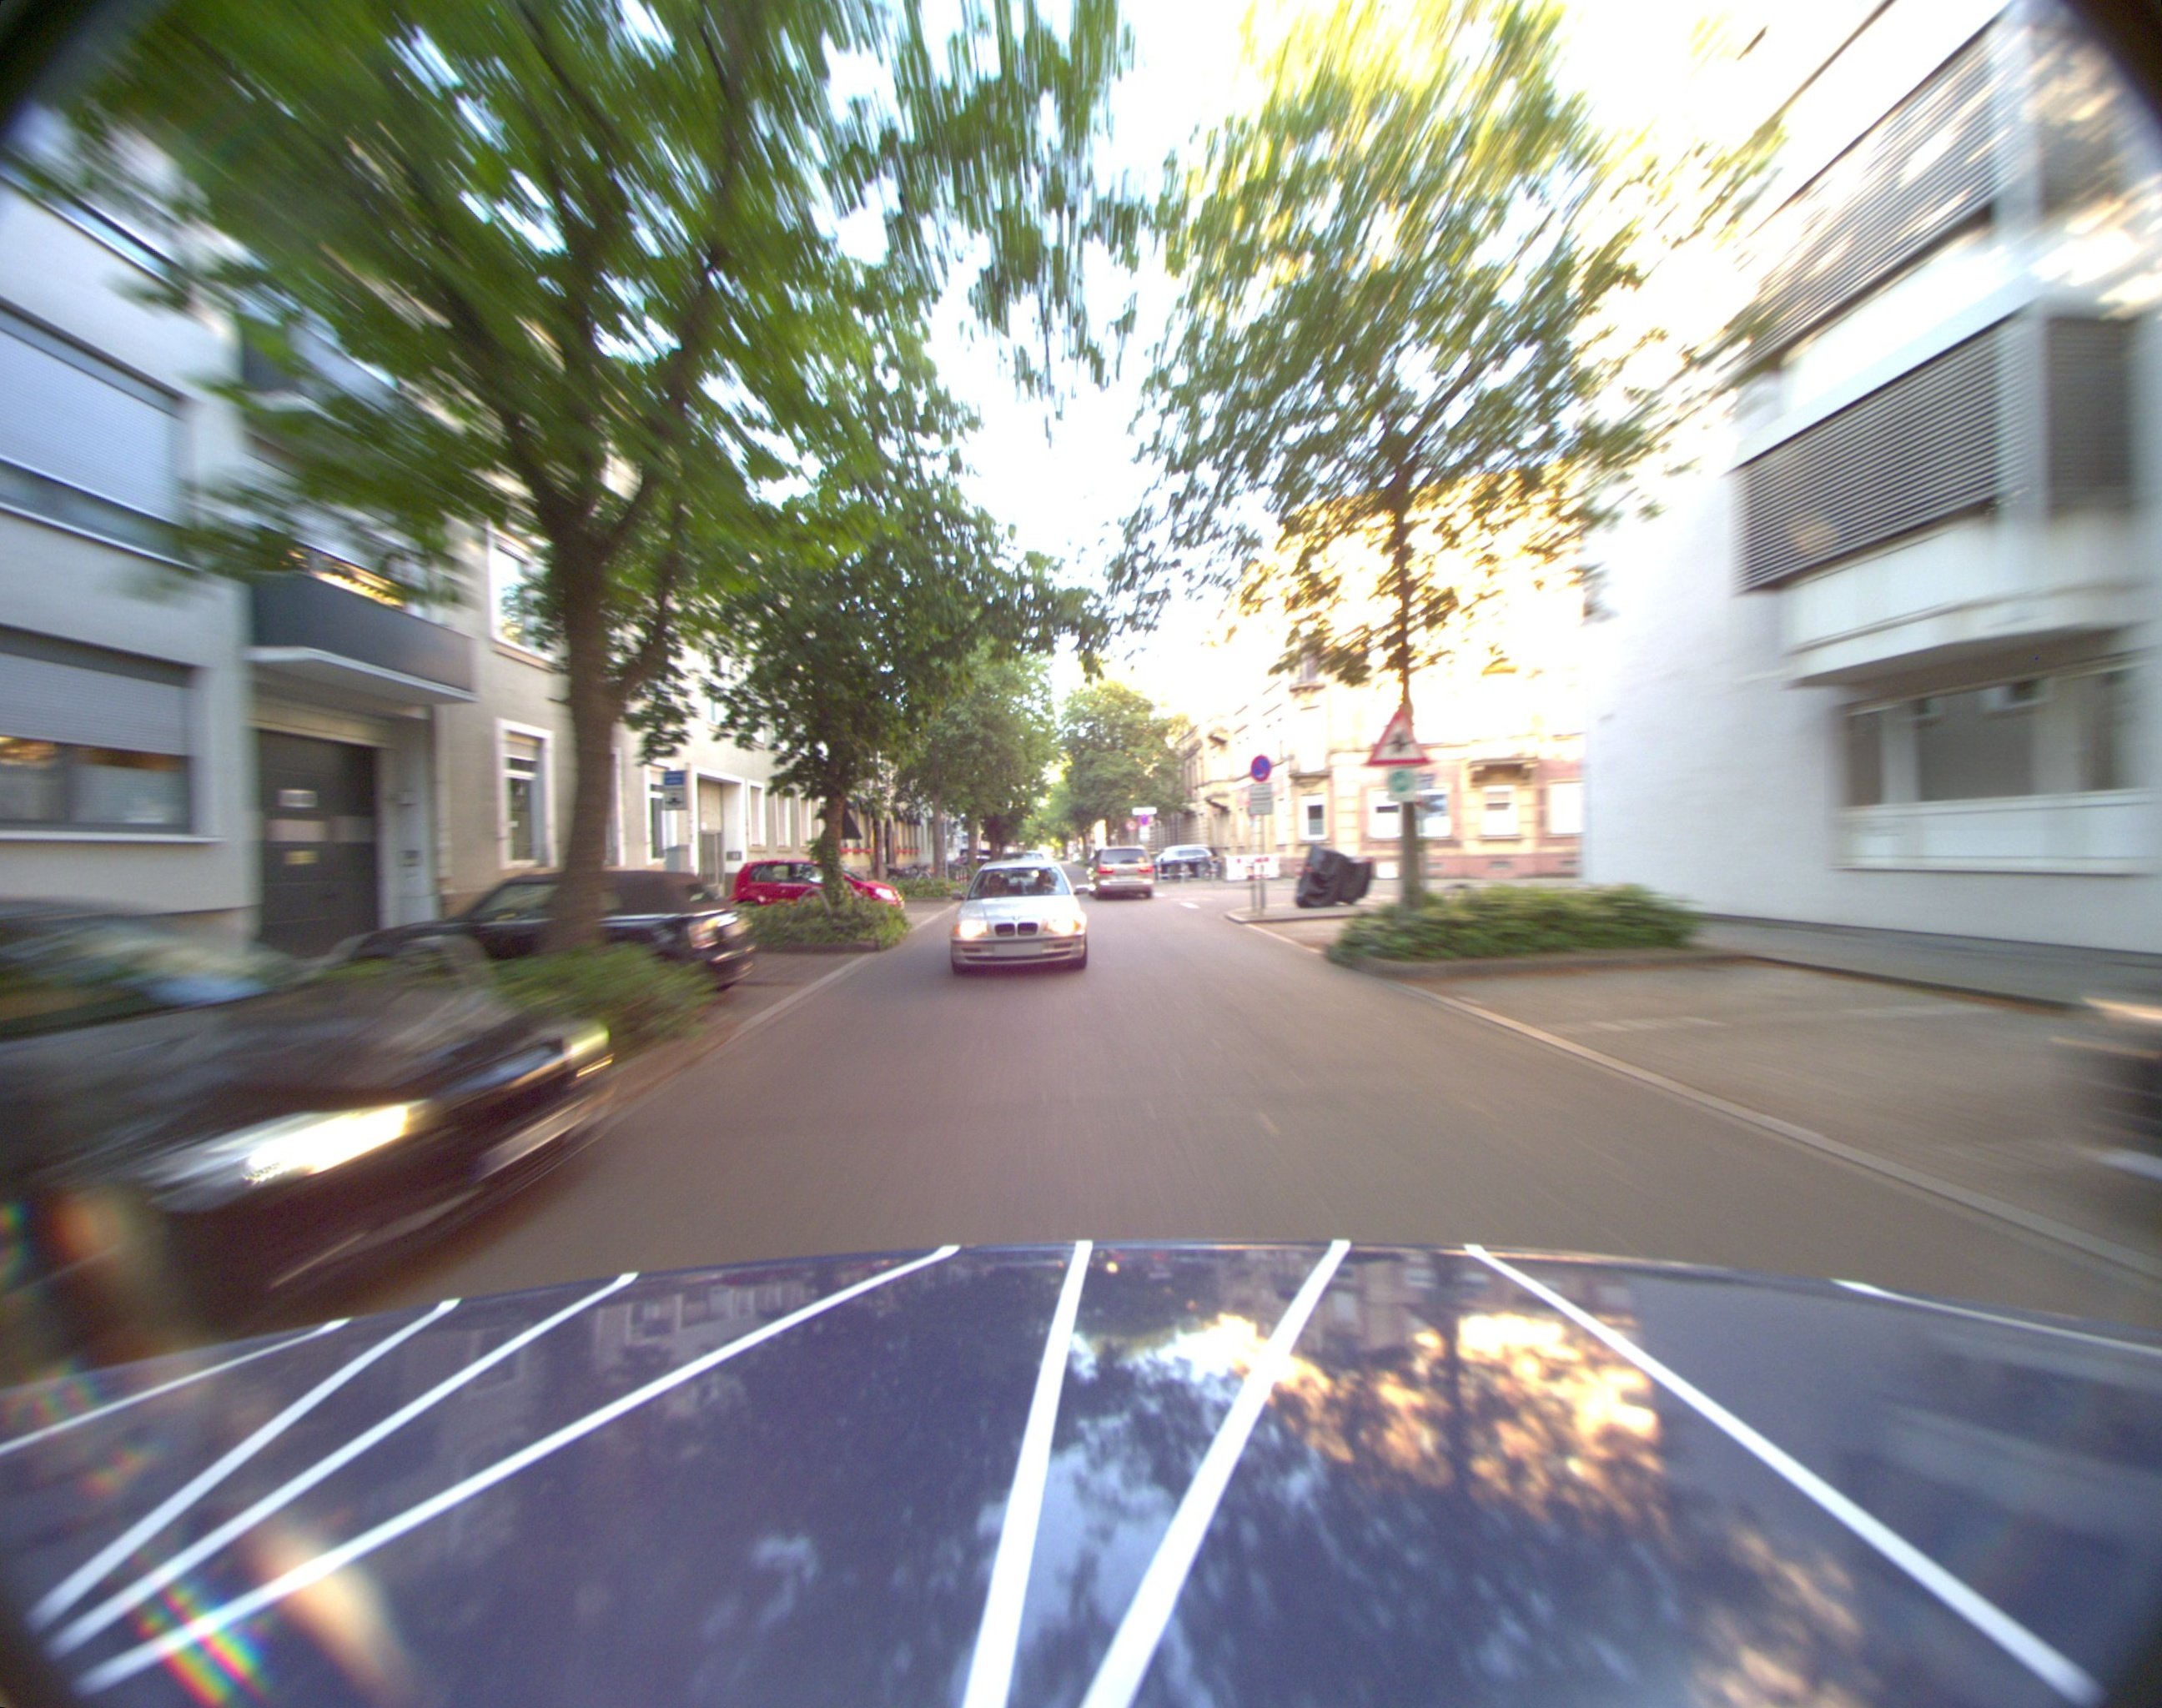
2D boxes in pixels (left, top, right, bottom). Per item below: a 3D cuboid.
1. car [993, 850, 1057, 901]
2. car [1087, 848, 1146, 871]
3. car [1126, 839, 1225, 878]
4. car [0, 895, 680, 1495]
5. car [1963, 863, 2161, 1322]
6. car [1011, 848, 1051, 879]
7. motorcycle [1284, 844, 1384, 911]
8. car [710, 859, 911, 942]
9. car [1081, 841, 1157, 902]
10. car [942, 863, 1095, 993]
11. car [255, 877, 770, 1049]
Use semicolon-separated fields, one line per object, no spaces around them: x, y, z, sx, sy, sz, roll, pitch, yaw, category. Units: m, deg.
-1.976;0.723;27.958;1.893;1.636;4.000;-3;1;2;car
2.835;0.455;61.268;4.530;1.706;1.999;-2;1;-2;car
4.567;0.214;37.234;4.602;1.725;2.141;-2;1;2;car
-4.583;1.045;2.978;4.888;1.488;1.987;-2;1;-3;car
5.916;0.762;2.290;4.521;1.517;1.871;-2;1;-3;car
-2.972;0.541;45.780;1.915;1.679;3.971;-2;1;3;car
6.020;0.524;18.046;2.234;1.461;0.900;-2;1;-25;motorcycle
-5.726;0.949;16.470;3.732;1.544;1.754;-2;1;-5;car
1.079;0.488;23.873;1.787;1.679;4.383;-2;1;-5;car
-0.817;0.886;11.005;1.737;1.363;4.331;-2;1;-2;car
-5.453;0.996;7.789;3.847;1.403;1.712;-1;1;-7;car
